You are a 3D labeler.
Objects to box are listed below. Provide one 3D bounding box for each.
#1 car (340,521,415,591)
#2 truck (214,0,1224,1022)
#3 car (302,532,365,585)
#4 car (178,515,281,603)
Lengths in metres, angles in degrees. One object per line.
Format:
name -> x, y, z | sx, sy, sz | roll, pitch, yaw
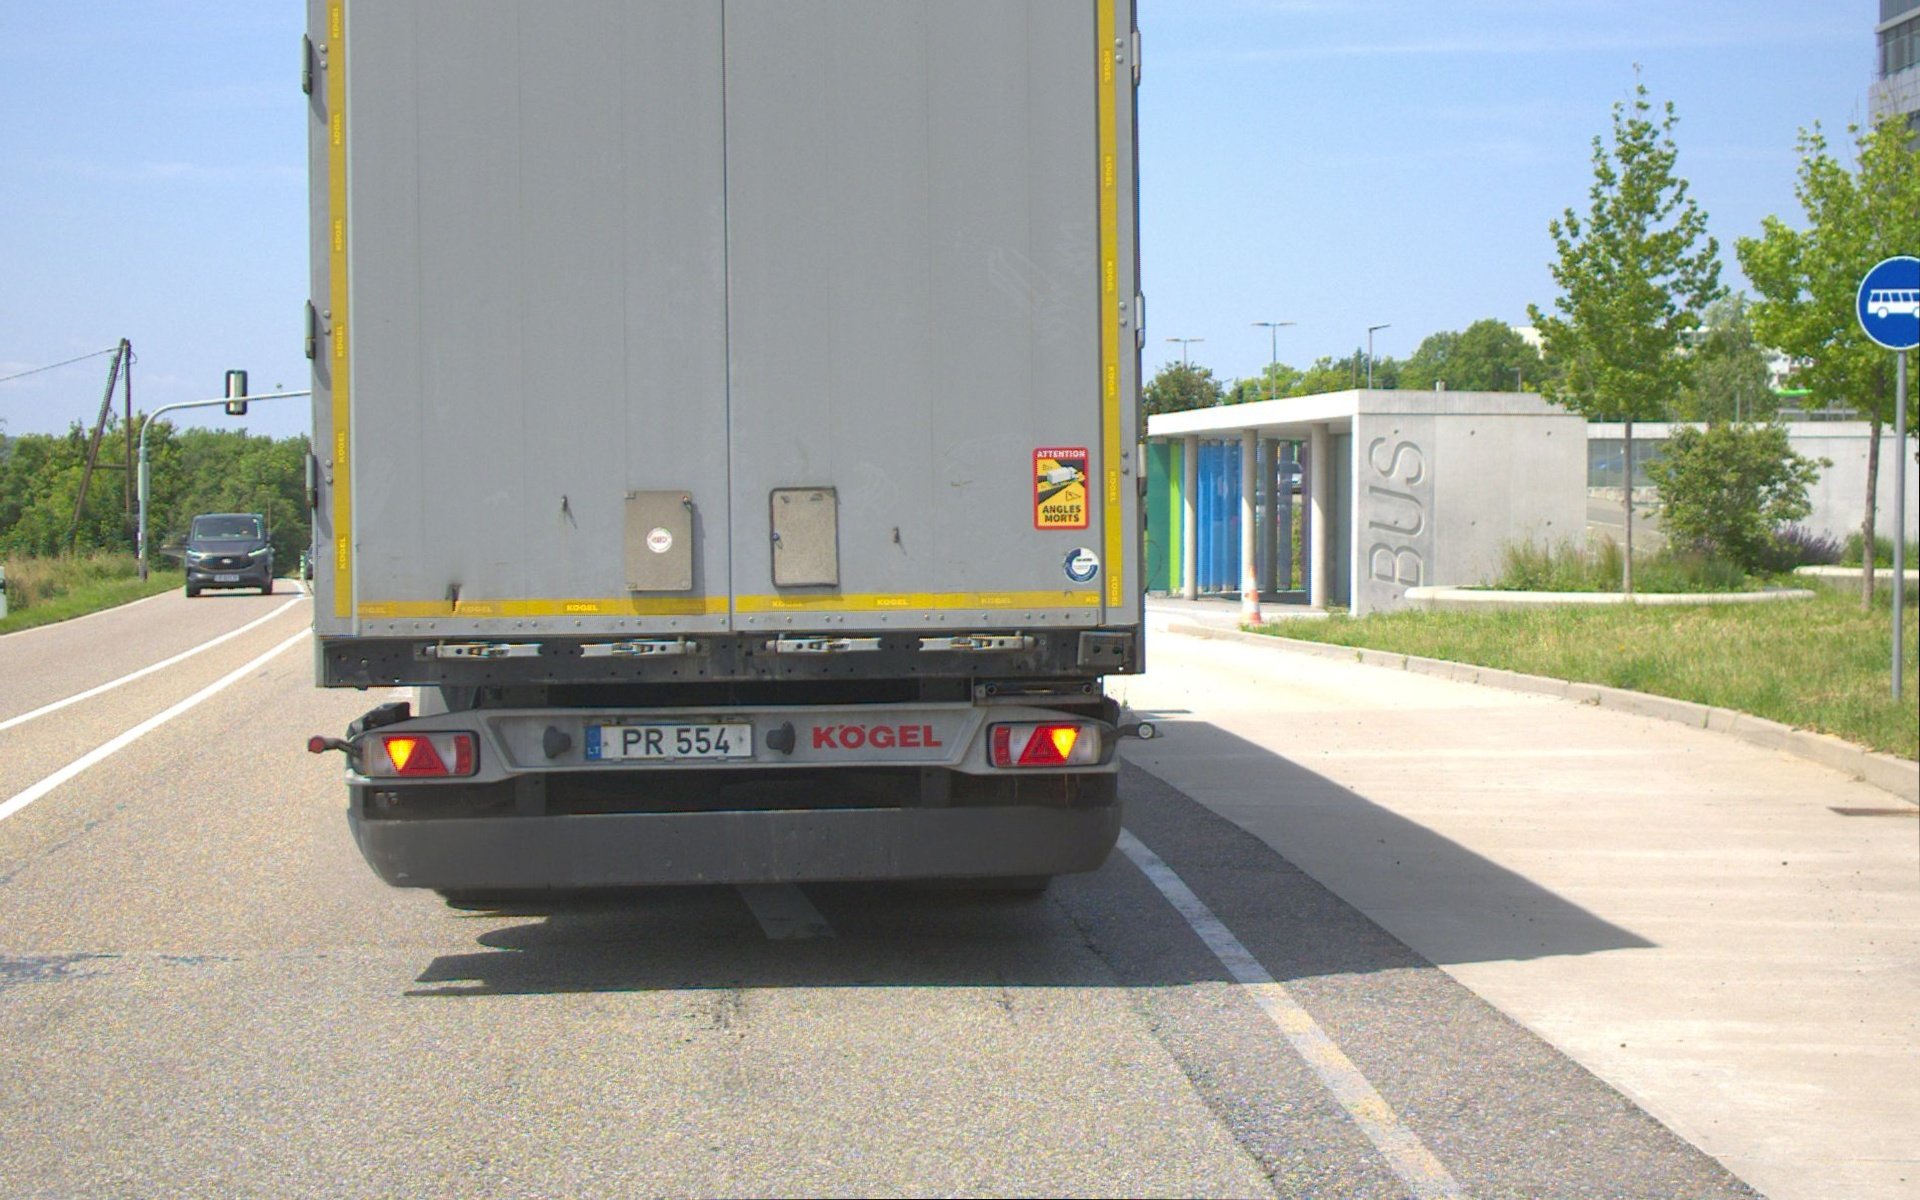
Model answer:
car -> -17.273, -1.329, 102.073 | 1.993, 1.943, 4.504 | -2, 1, -8
truck -> -0.920, -1.075, 14.401 | 2.907, 4.394, 8.861 | 0, 1, -3
car -> -23.197, -1.553, 127.423 | 1.993, 1.809, 4.297 | -3, 2, -7
car -> -17.505, -1.015, 82.593 | 1.993, 1.971, 5.280 | -2, 2, -8
